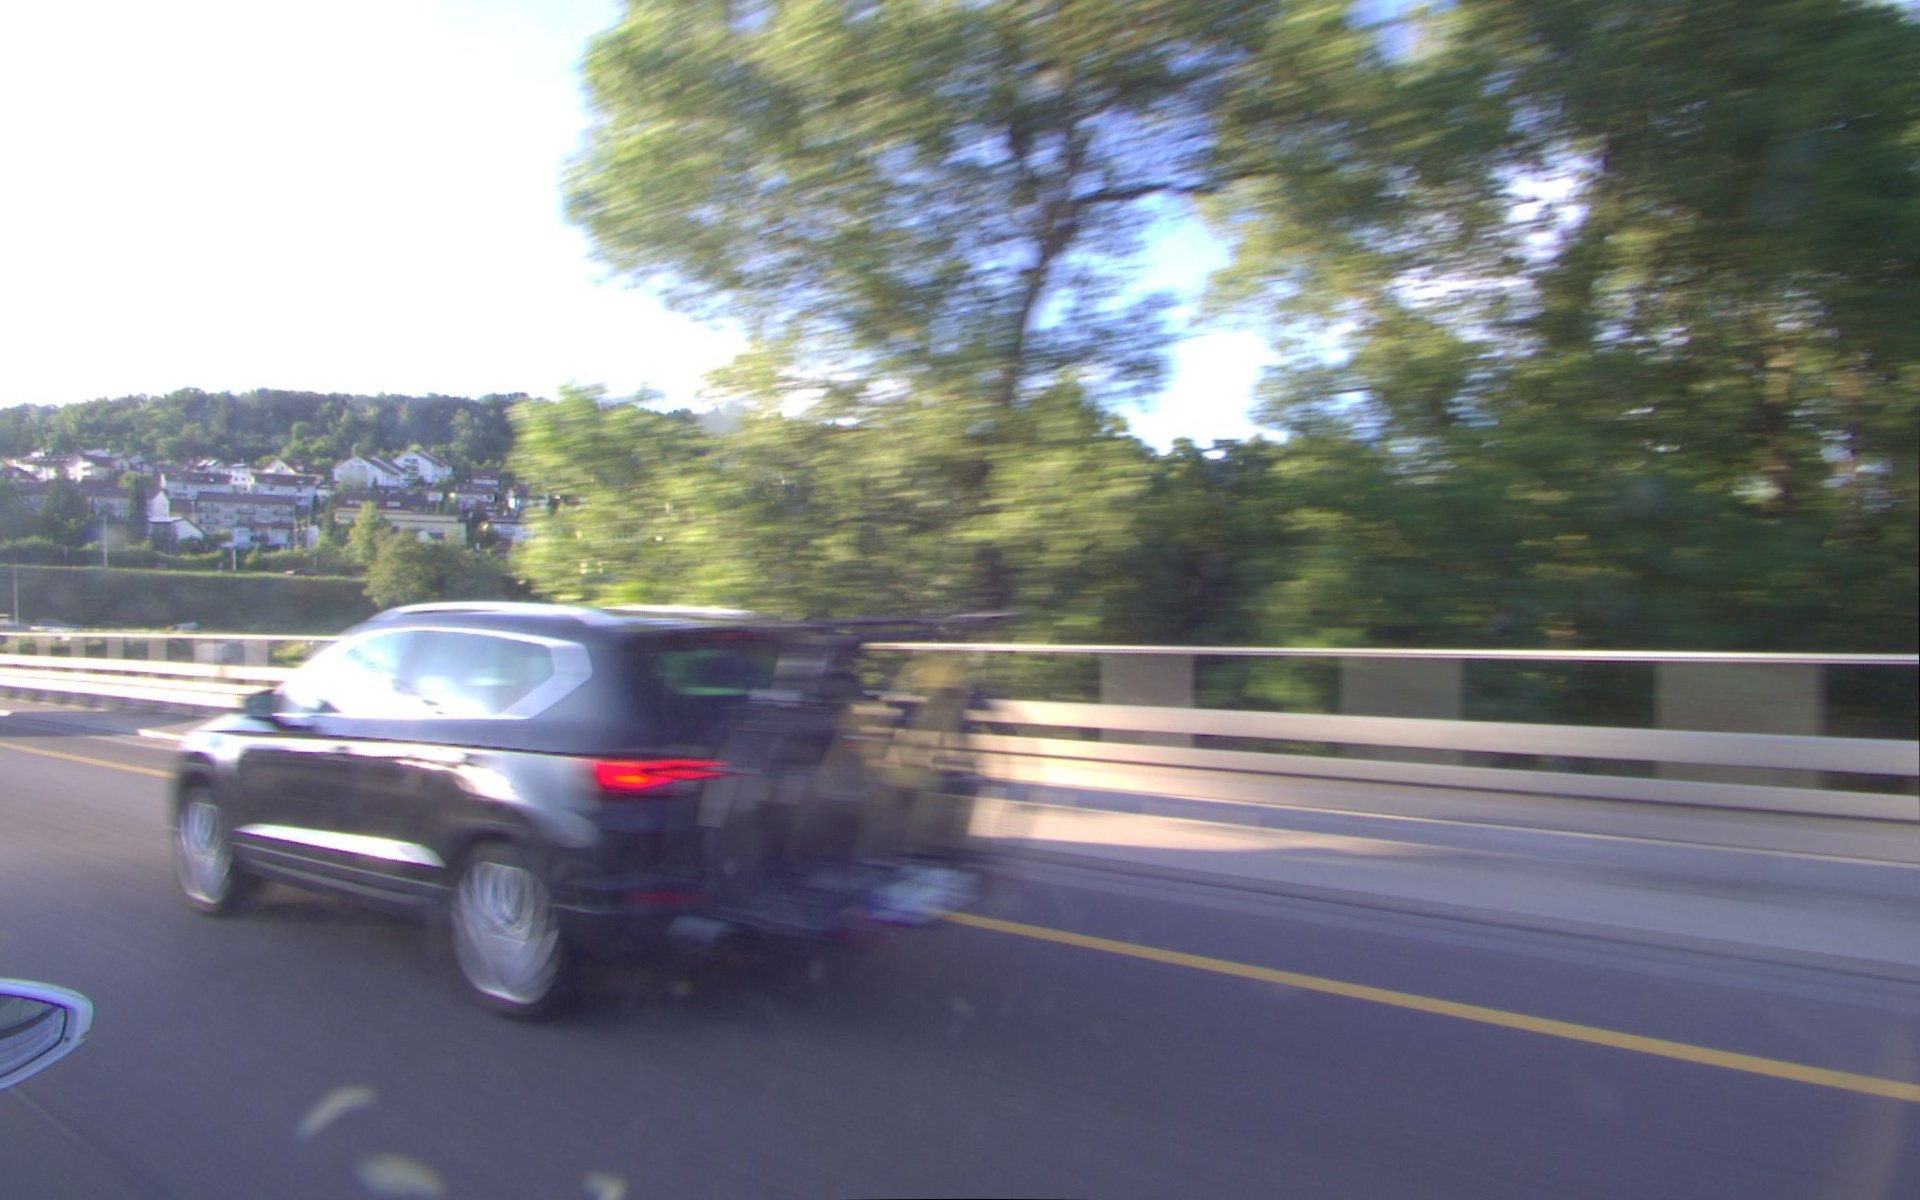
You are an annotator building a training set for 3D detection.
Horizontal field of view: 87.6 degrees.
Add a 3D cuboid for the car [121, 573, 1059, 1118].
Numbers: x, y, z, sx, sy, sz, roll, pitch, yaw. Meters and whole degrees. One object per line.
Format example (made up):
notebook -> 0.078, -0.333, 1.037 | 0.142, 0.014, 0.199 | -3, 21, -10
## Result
car -> -2.108, 0.776, 5.079 | 4.894, 1.620, 1.872 | -1, -1, 32
